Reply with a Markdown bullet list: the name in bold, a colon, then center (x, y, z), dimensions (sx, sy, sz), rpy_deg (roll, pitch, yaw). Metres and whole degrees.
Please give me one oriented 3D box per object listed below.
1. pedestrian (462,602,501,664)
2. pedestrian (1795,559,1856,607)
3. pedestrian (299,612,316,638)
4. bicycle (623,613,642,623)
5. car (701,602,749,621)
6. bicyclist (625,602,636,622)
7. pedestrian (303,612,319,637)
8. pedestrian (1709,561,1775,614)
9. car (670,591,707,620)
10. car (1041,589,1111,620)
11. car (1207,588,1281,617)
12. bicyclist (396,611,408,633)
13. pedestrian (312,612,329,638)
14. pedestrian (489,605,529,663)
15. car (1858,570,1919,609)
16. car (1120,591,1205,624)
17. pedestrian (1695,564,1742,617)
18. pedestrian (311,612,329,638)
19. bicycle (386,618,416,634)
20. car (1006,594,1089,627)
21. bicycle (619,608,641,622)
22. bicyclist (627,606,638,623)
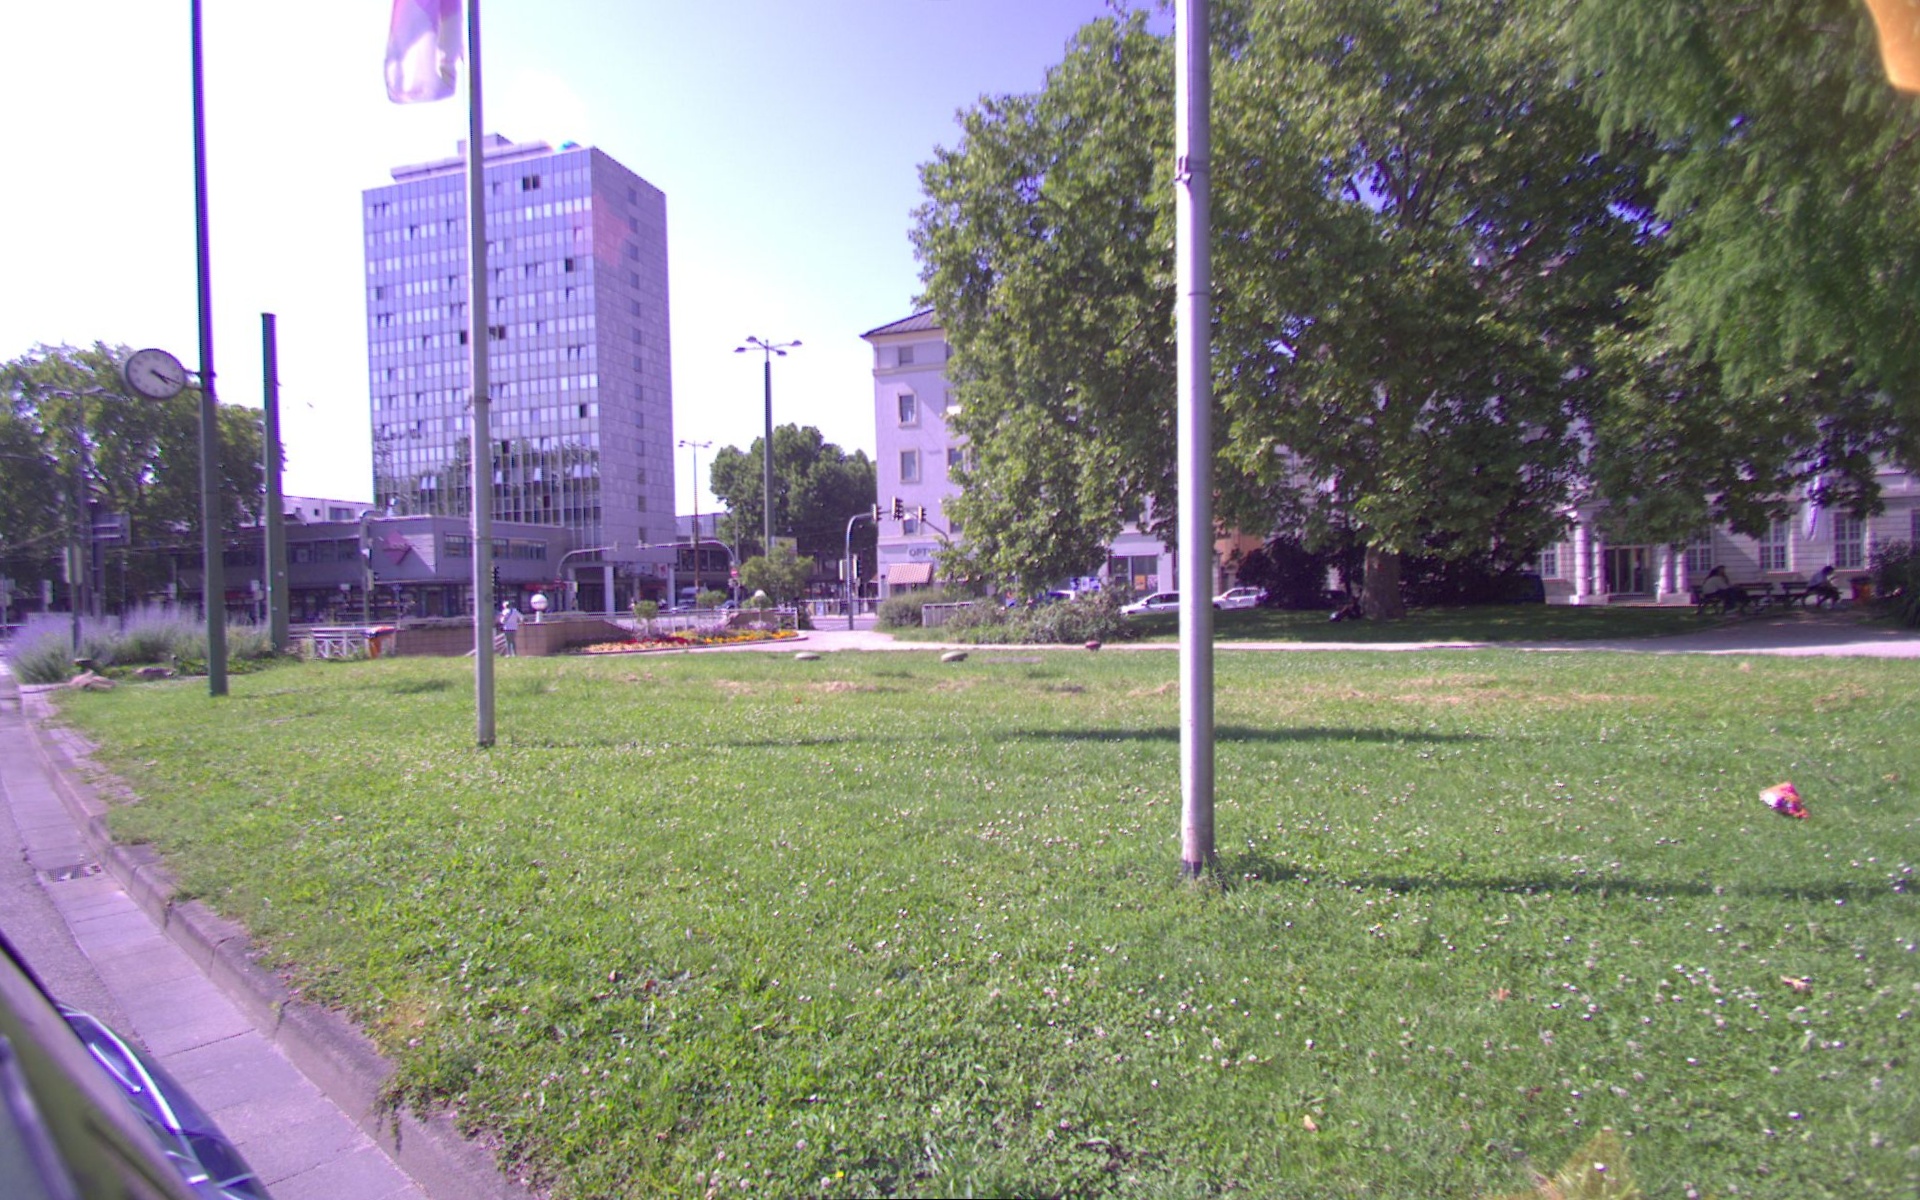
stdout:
- **pedestrian**: center (-12.728, 0.880, 26.925), dimensions (0.597, 1.605, 0.686), rpy_deg (-2, 0, 29)
- **pedestrian**: center (23.250, -0.445, 27.197), dimensions (0.744, 1.235, 1.061), rpy_deg (-2, 0, -33)
- **pedestrian**: center (-47.247, 1.792, 73.257), dimensions (0.665, 1.850, 0.819), rpy_deg (-1, 0, 17)
- **bicycle**: center (-30.046, 1.633, 92.905), dimensions (0.590, 0.889, 1.794), rpy_deg (0, 1, 27)
- **car**: center (-20.668, 0.977, 89.305), dimensions (1.875, 1.545, 4.038), rpy_deg (-2, 0, 29)
- **bicyclist**: center (-30.879, 1.112, 94.936), dimensions (0.695, 1.781, 0.676), rpy_deg (0, 1, 34)
- **pedestrian**: center (-48.162, 1.816, 75.094), dimensions (0.671, 1.820, 0.812), rpy_deg (-1, 0, 43)
- **pedestrian**: center (19.114, -0.297, 24.742), dimensions (0.744, 1.235, 1.061), rpy_deg (-2, 0, -33)
- **car**: center (-29.066, 0.531, 108.540), dimensions (1.731, 2.938, 4.616), rpy_deg (-2, 0, 14)
- **car**: center (6.025, 0.250, 52.409), dimensions (3.379, 1.475, 1.510), rpy_deg (-2, 0, 17)
- **car**: center (13.860, 0.126, 49.400), dimensions (3.379, 1.248, 1.510), rpy_deg (-2, 0, 17)
- **bicyclist**: center (-42.968, 1.689, 77.925), dimensions (0.674, 1.700, 0.584), rpy_deg (-2, 0, -43)
- **pedestrian**: center (-45.192, 1.749, 71.520), dimensions (0.665, 1.850, 0.819), rpy_deg (-1, 0, 15)
- **pedestrian**: center (-12.277, 0.914, 27.535), dimensions (0.473, 1.521, 0.843), rpy_deg (-2, 0, 29)
- **car**: center (45.632, -0.523, 48.372), dimensions (3.937, 1.813, 1.882), rpy_deg (-1, 0, -8)
- **car**: center (8.925, 0.329, 44.568), dimensions (3.554, 1.278, 1.603), rpy_deg (-2, 0, 17)
- **pedestrian**: center (18.394, -0.230, 24.555), dimensions (0.744, 1.235, 0.672), rpy_deg (-2, 0, -33)
- **pedestrian**: center (-46.116, 1.770, 72.952), dimensions (0.728, 1.850, 0.819), rpy_deg (-1, 0, 16)
- **bicycle**: center (-43.020, 1.991, 77.872), dimensions (1.940, 1.110, 0.577), rpy_deg (-2, 0, -44)
- **car**: center (4.016, 0.489, 46.374), dimensions (3.554, 1.356, 1.603), rpy_deg (-2, 0, 17)
- **bicycle**: center (-30.909, 1.401, 94.903), dimensions (0.714, 1.309, 1.918), rpy_deg (0, 1, 33)
- **bicyclist**: center (-30.067, 1.304, 92.882), dimensions (0.580, 1.538, 0.678), rpy_deg (0, 1, 27)
